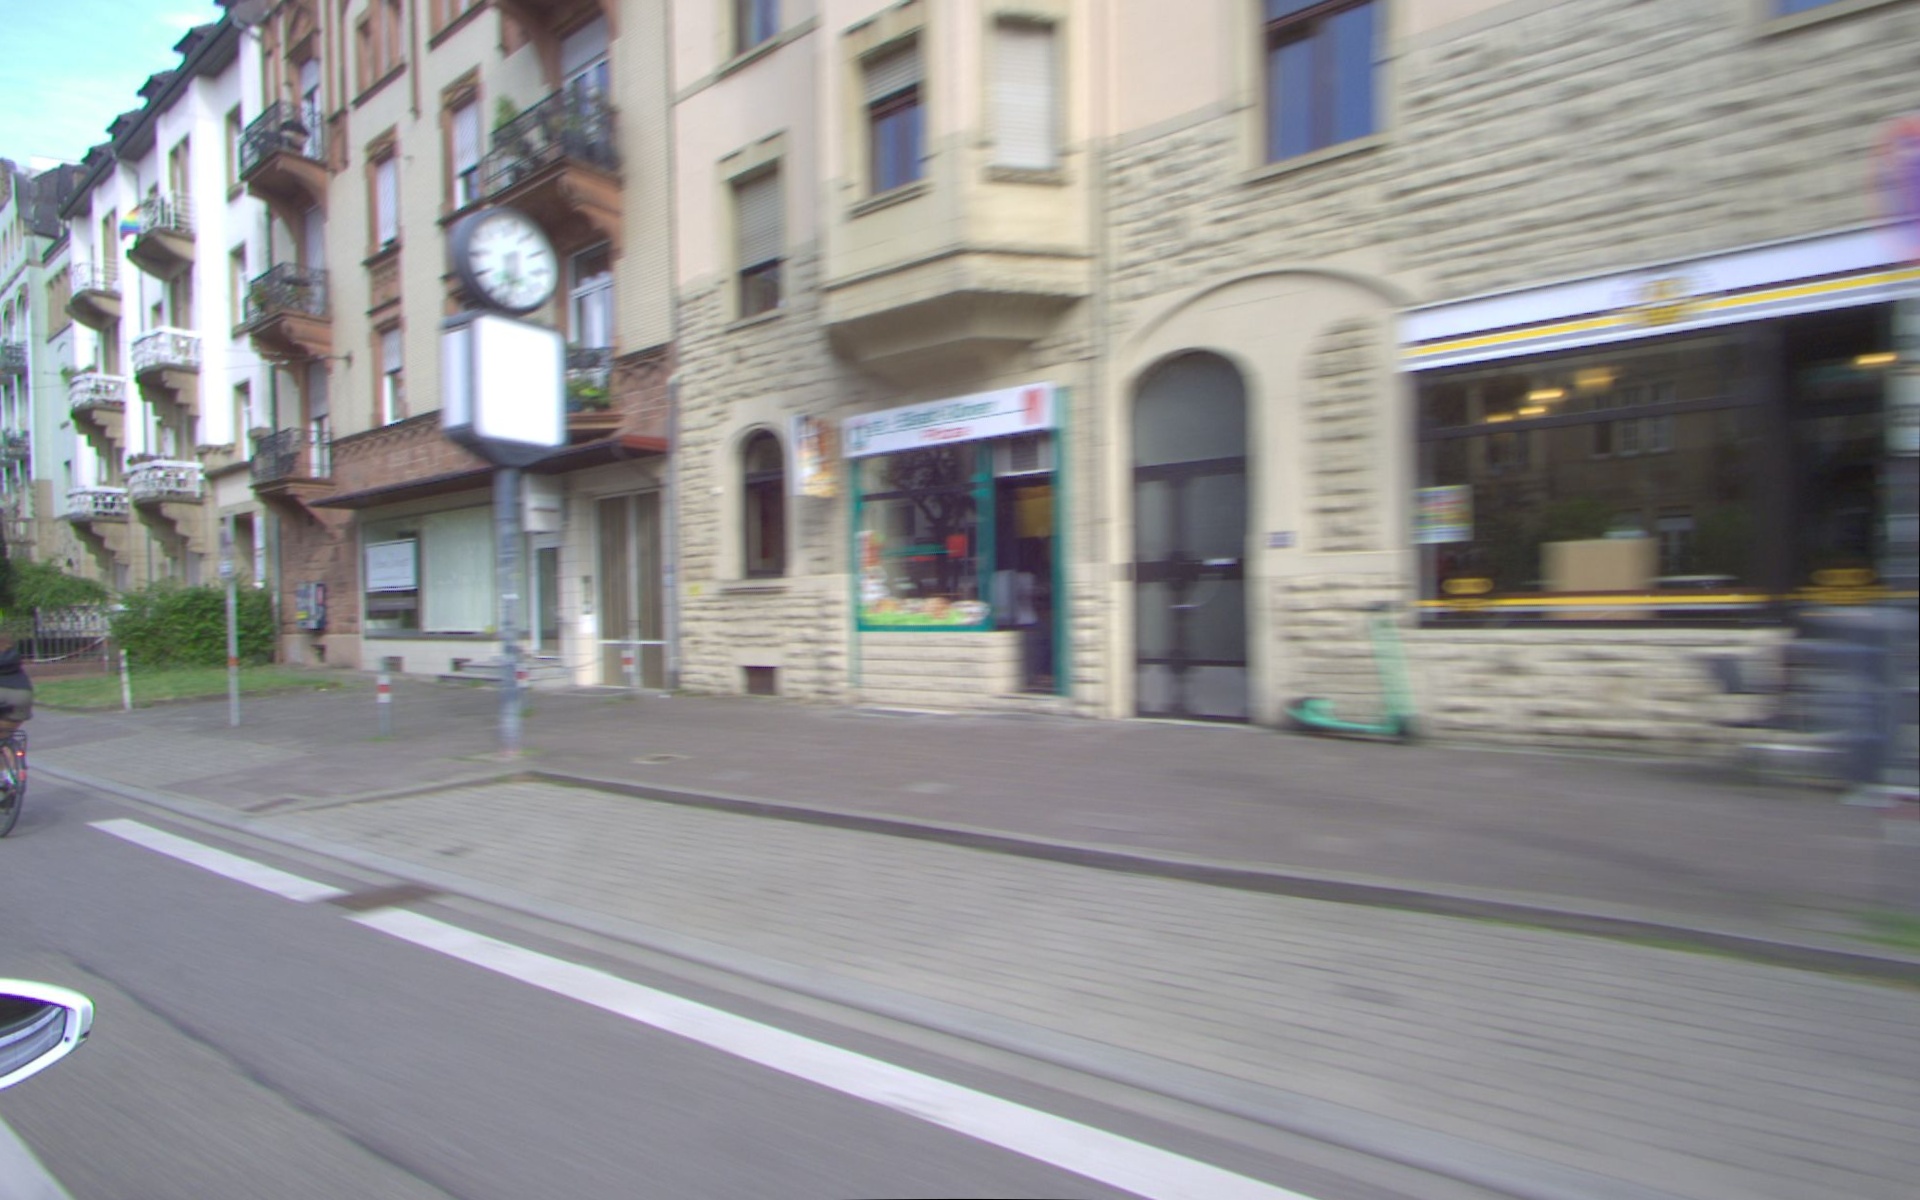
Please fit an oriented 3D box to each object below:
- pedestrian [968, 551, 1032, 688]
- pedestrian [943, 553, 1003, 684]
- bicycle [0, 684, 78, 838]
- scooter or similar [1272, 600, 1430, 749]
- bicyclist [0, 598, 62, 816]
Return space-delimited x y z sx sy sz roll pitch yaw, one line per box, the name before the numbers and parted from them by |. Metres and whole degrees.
pedestrian | 0.486 0.232 12.133 0.554 1.601 0.547 0 1 38
pedestrian | 0.167 0.233 12.630 0.501 1.601 0.557 0 1 37
bicycle | -7.487 1.188 7.695 2.044 0.993 0.636 -1 -1 36
scooter or similar | 3.323 0.607 8.549 1.182 1.184 0.395 -1 2 39
bicyclist | -7.442 0.793 7.663 1.096 1.590 0.636 -1 -1 36
